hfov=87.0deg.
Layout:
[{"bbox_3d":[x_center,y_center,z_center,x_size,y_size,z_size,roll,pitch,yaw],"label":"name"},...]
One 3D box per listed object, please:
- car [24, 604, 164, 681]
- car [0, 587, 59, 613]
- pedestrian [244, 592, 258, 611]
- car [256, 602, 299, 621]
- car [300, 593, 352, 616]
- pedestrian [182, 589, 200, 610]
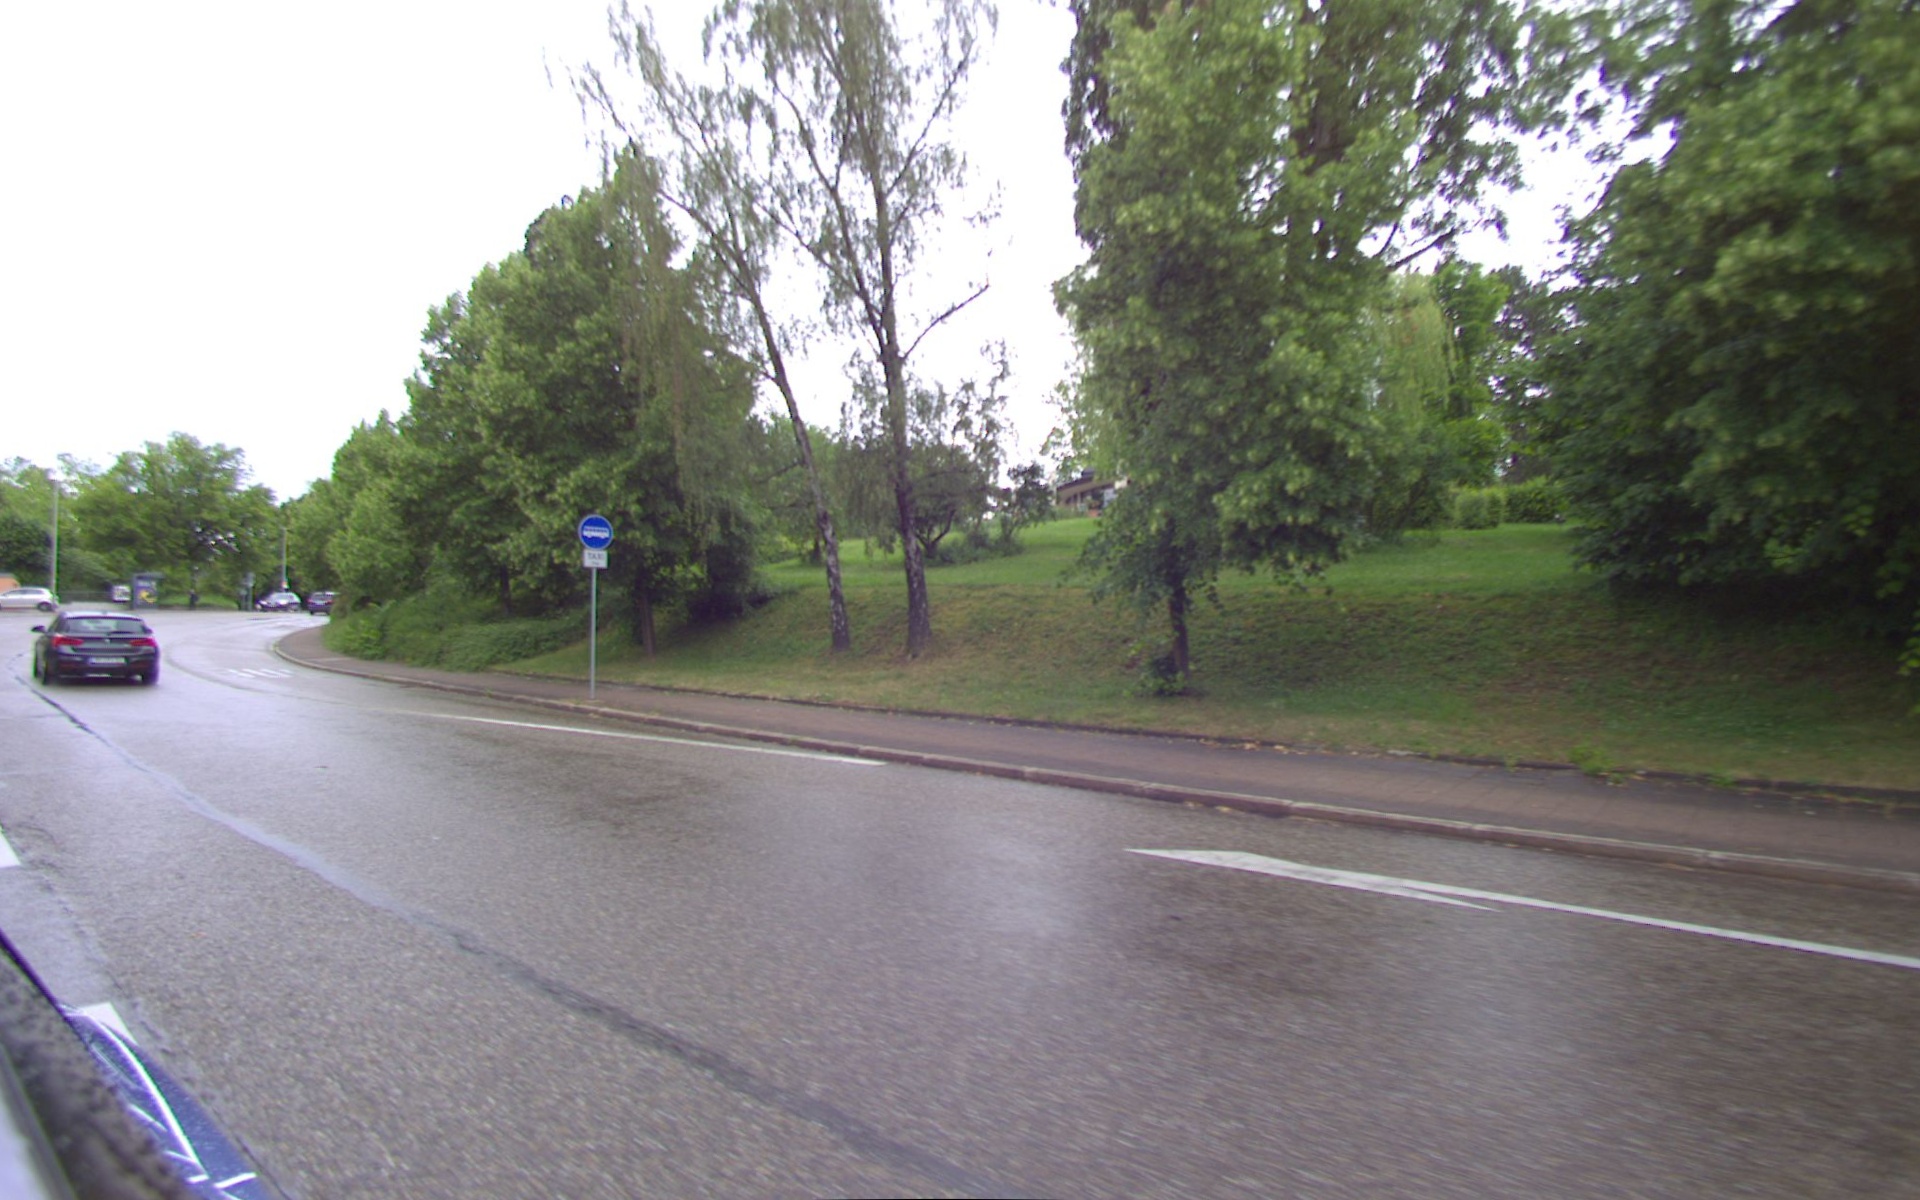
[{"bbox_3d":[-17.557,0.846,20.455,4.141,1.394,1.702,-1,-4,44],"label":"car"},{"bbox_3d":[-62.304,-0.017,66.964,3.807,1.578,1.731,4,-3,-37],"label":"car"},{"bbox_3d":[-64.458,0.135,92.019,0.713,1.746,0.821,1,-2,-17],"label":"pedestrian"},{"bbox_3d":[-56.558,0.986,83.954,1.831,1.426,4.399,0,-2,-18],"label":"car"},{"bbox_3d":[-46.353,0.277,74.128,1.786,1.589,4.698,2,0,-13],"label":"car"},{"bbox_3d":[-63.047,-0.034,82.980,0.912,1.667,1.101,2,-2,-27],"label":"pedestrian"}]
